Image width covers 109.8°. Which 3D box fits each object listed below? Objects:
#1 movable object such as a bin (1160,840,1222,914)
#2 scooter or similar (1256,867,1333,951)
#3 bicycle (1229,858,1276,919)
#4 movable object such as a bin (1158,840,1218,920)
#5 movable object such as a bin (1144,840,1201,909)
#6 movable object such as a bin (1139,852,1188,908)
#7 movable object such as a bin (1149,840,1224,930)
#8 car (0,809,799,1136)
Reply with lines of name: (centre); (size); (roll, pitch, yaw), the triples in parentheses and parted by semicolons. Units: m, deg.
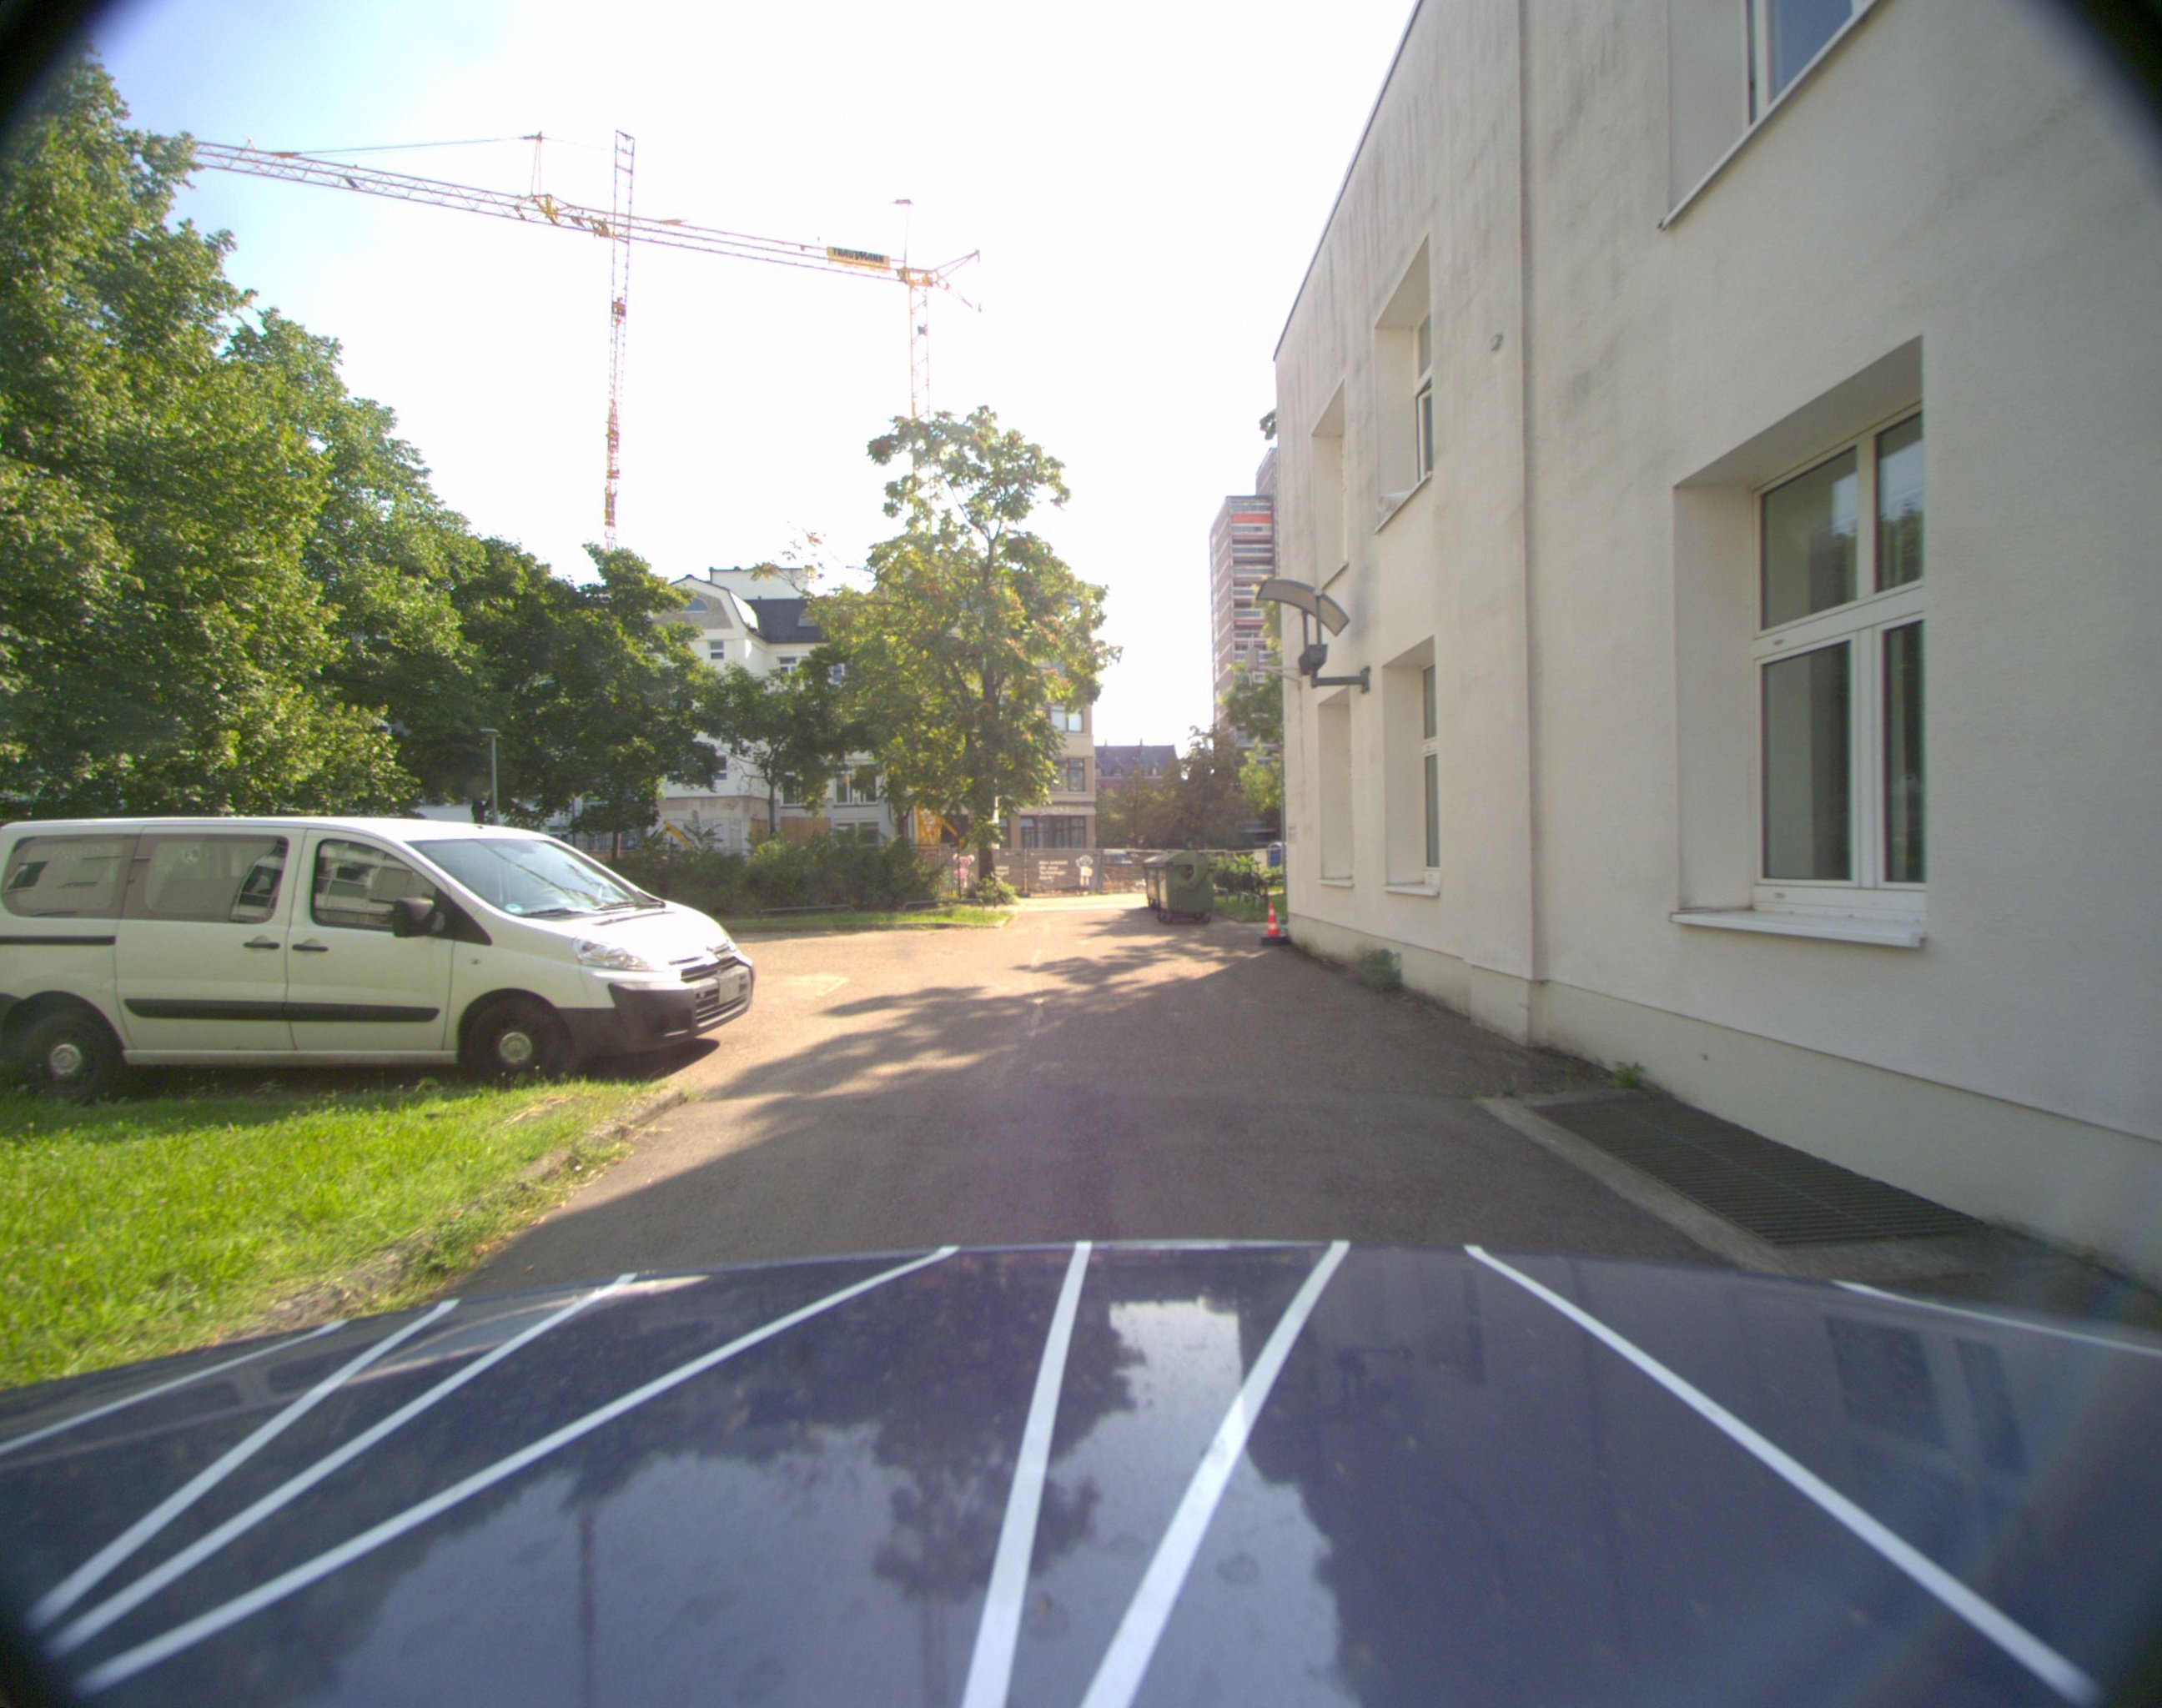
movable object such as a bin: (2.643, 0.525, 18.453); (1.184, 1.696, 1.376); (-2, 1, -5)
scooter or similar: (3.486, 0.868, 12.518); (0.386, 1.255, 1.493); (-2, 1, -20)
bicycle: (3.756, 0.725, 16.786); (0.477, 1.206, 2.007); (-2, 1, -2)
movable object such as a bin: (2.377, 0.551, 17.042); (1.183, 1.696, 1.395); (-1, 1, 3)
movable object such as a bin: (2.361, 0.513, 19.848); (1.184, 1.696, 1.376); (-2, 1, -5)
movable object such as a bin: (2.296, 0.714, 21.249); (1.037, 1.489, 1.106); (-2, 1, -12)
movable object such as a bin: (2.079, 0.584, 15.239); (1.184, 1.696, 1.376); (-2, 1, -5)
car: (-5.050, 0.747, 5.759); (4.969, 1.910, 2.043); (-2, 1, 1)
